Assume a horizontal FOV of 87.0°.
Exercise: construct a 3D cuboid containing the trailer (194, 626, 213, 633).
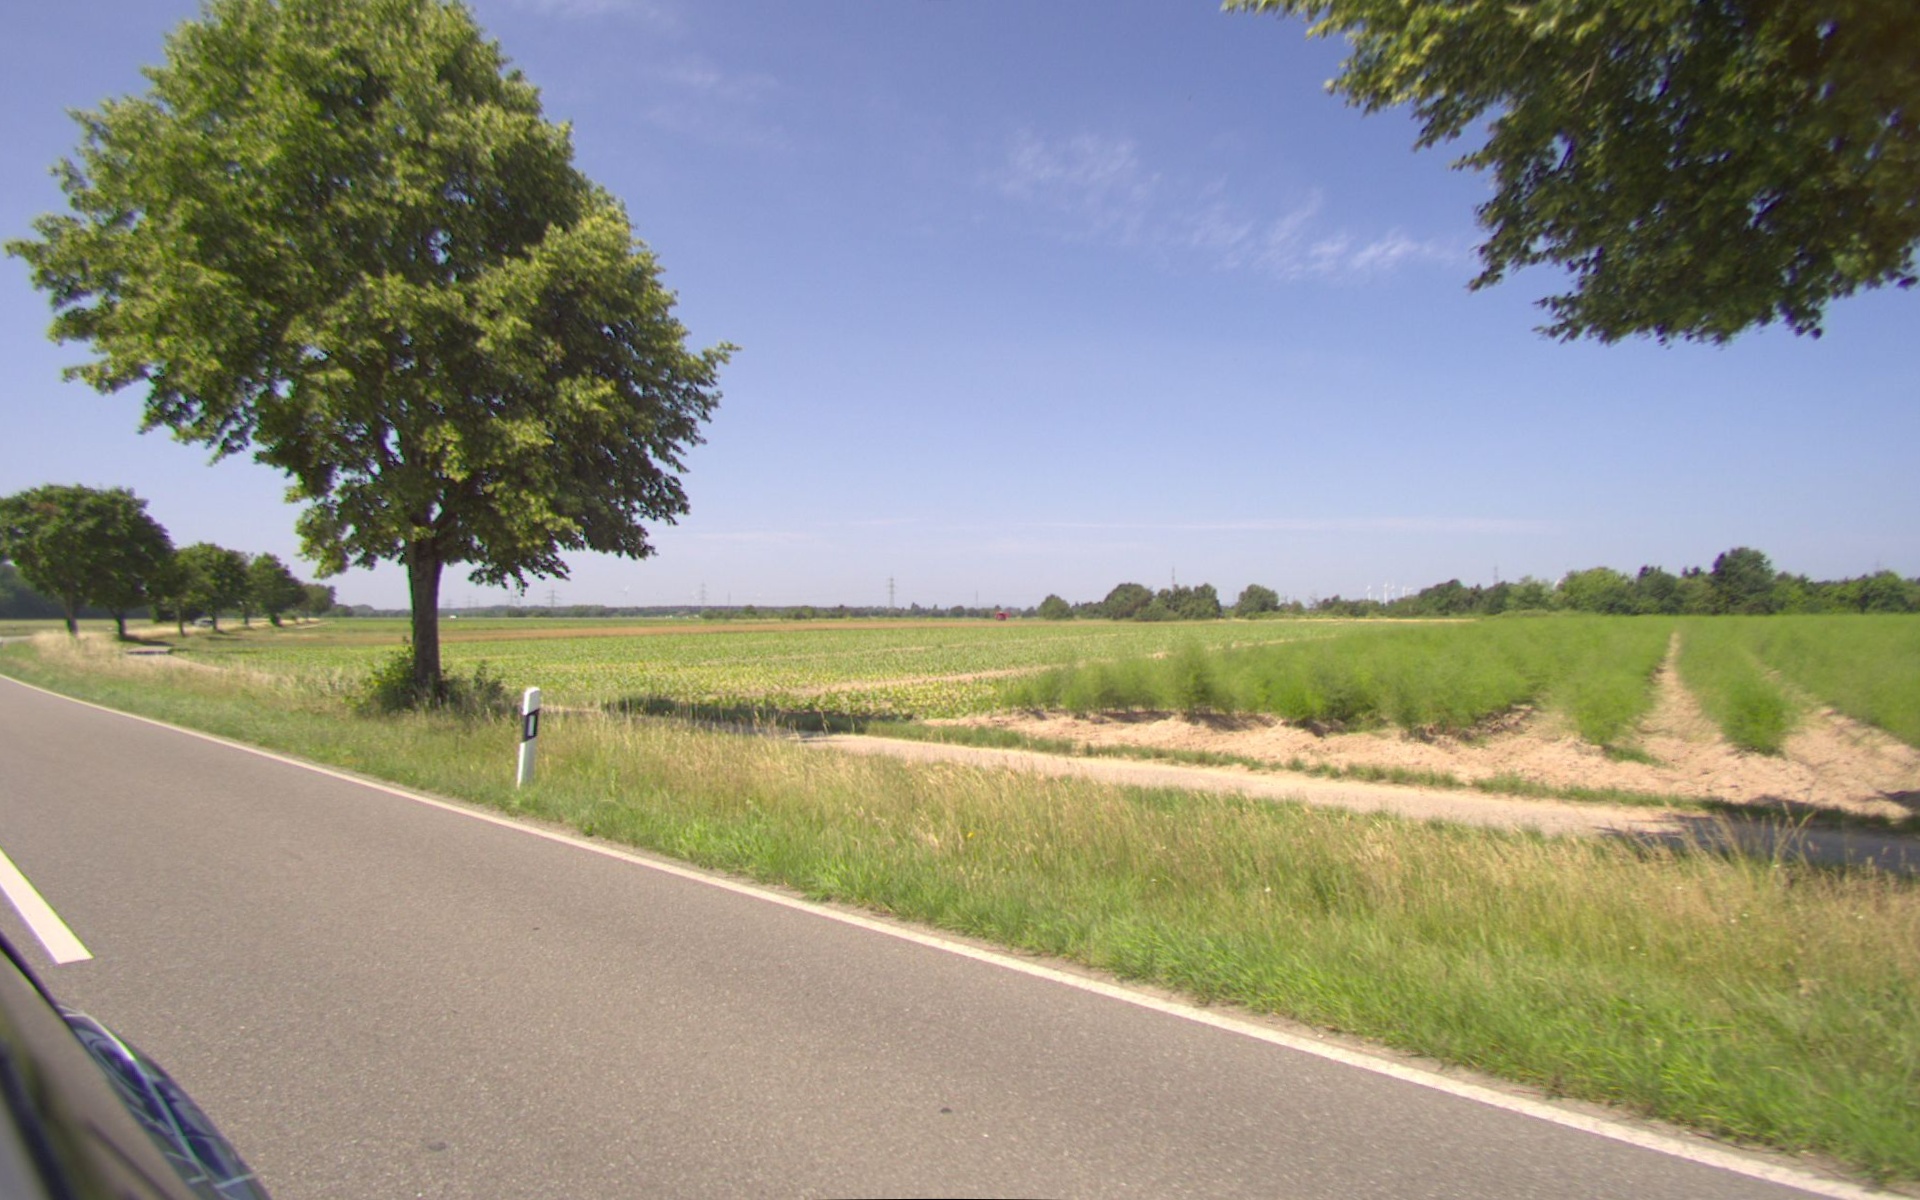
[{"bbox_3d":[-116.129,4.533,155.391,1.600,1.073,4.132,4,-3,-28],"label":"trailer"}]
